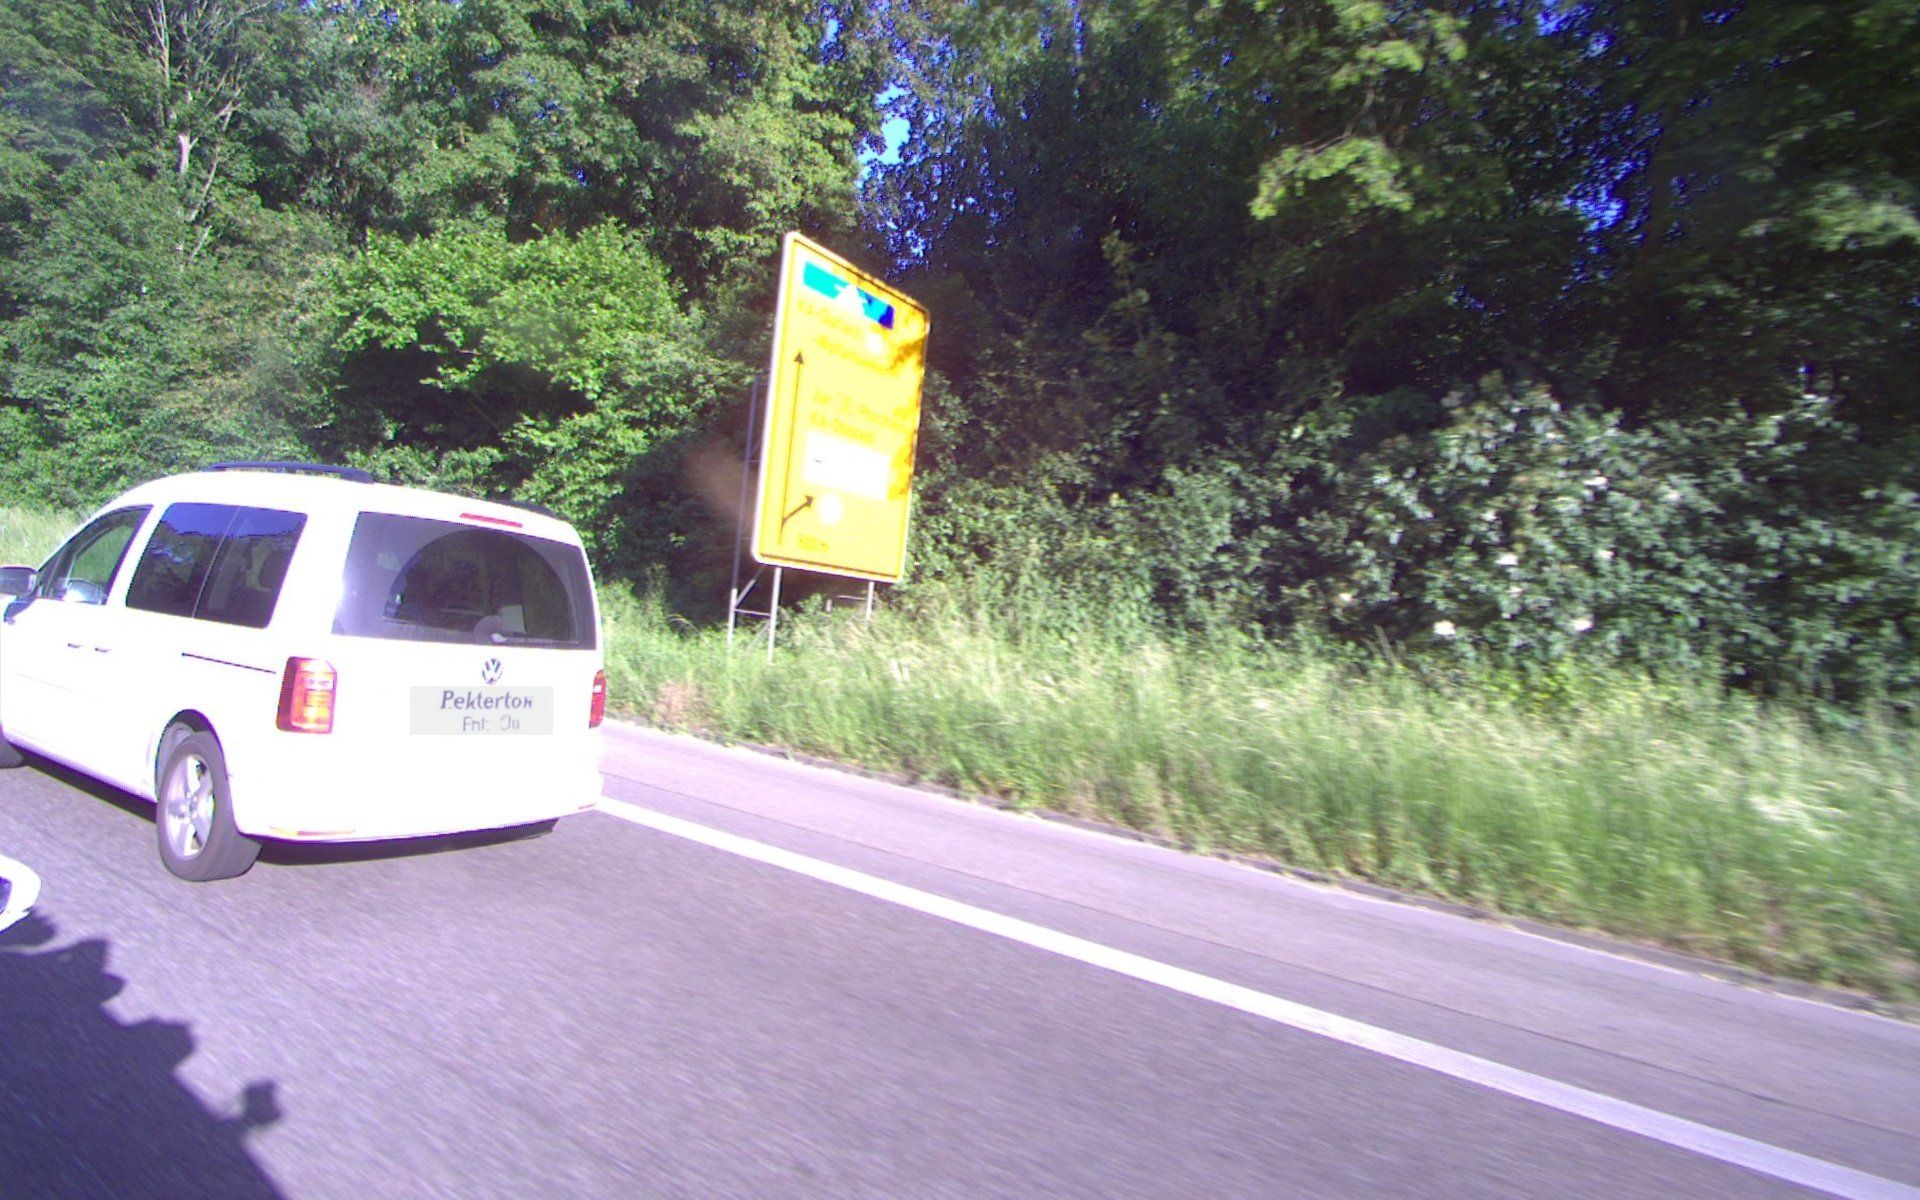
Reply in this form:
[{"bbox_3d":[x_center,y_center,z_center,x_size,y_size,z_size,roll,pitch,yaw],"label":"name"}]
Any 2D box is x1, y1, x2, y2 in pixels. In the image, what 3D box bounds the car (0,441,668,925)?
[{"bbox_3d":[-4.033,0.212,5.759,4.511,1.834,1.802,6,-2,31],"label":"car"}]
